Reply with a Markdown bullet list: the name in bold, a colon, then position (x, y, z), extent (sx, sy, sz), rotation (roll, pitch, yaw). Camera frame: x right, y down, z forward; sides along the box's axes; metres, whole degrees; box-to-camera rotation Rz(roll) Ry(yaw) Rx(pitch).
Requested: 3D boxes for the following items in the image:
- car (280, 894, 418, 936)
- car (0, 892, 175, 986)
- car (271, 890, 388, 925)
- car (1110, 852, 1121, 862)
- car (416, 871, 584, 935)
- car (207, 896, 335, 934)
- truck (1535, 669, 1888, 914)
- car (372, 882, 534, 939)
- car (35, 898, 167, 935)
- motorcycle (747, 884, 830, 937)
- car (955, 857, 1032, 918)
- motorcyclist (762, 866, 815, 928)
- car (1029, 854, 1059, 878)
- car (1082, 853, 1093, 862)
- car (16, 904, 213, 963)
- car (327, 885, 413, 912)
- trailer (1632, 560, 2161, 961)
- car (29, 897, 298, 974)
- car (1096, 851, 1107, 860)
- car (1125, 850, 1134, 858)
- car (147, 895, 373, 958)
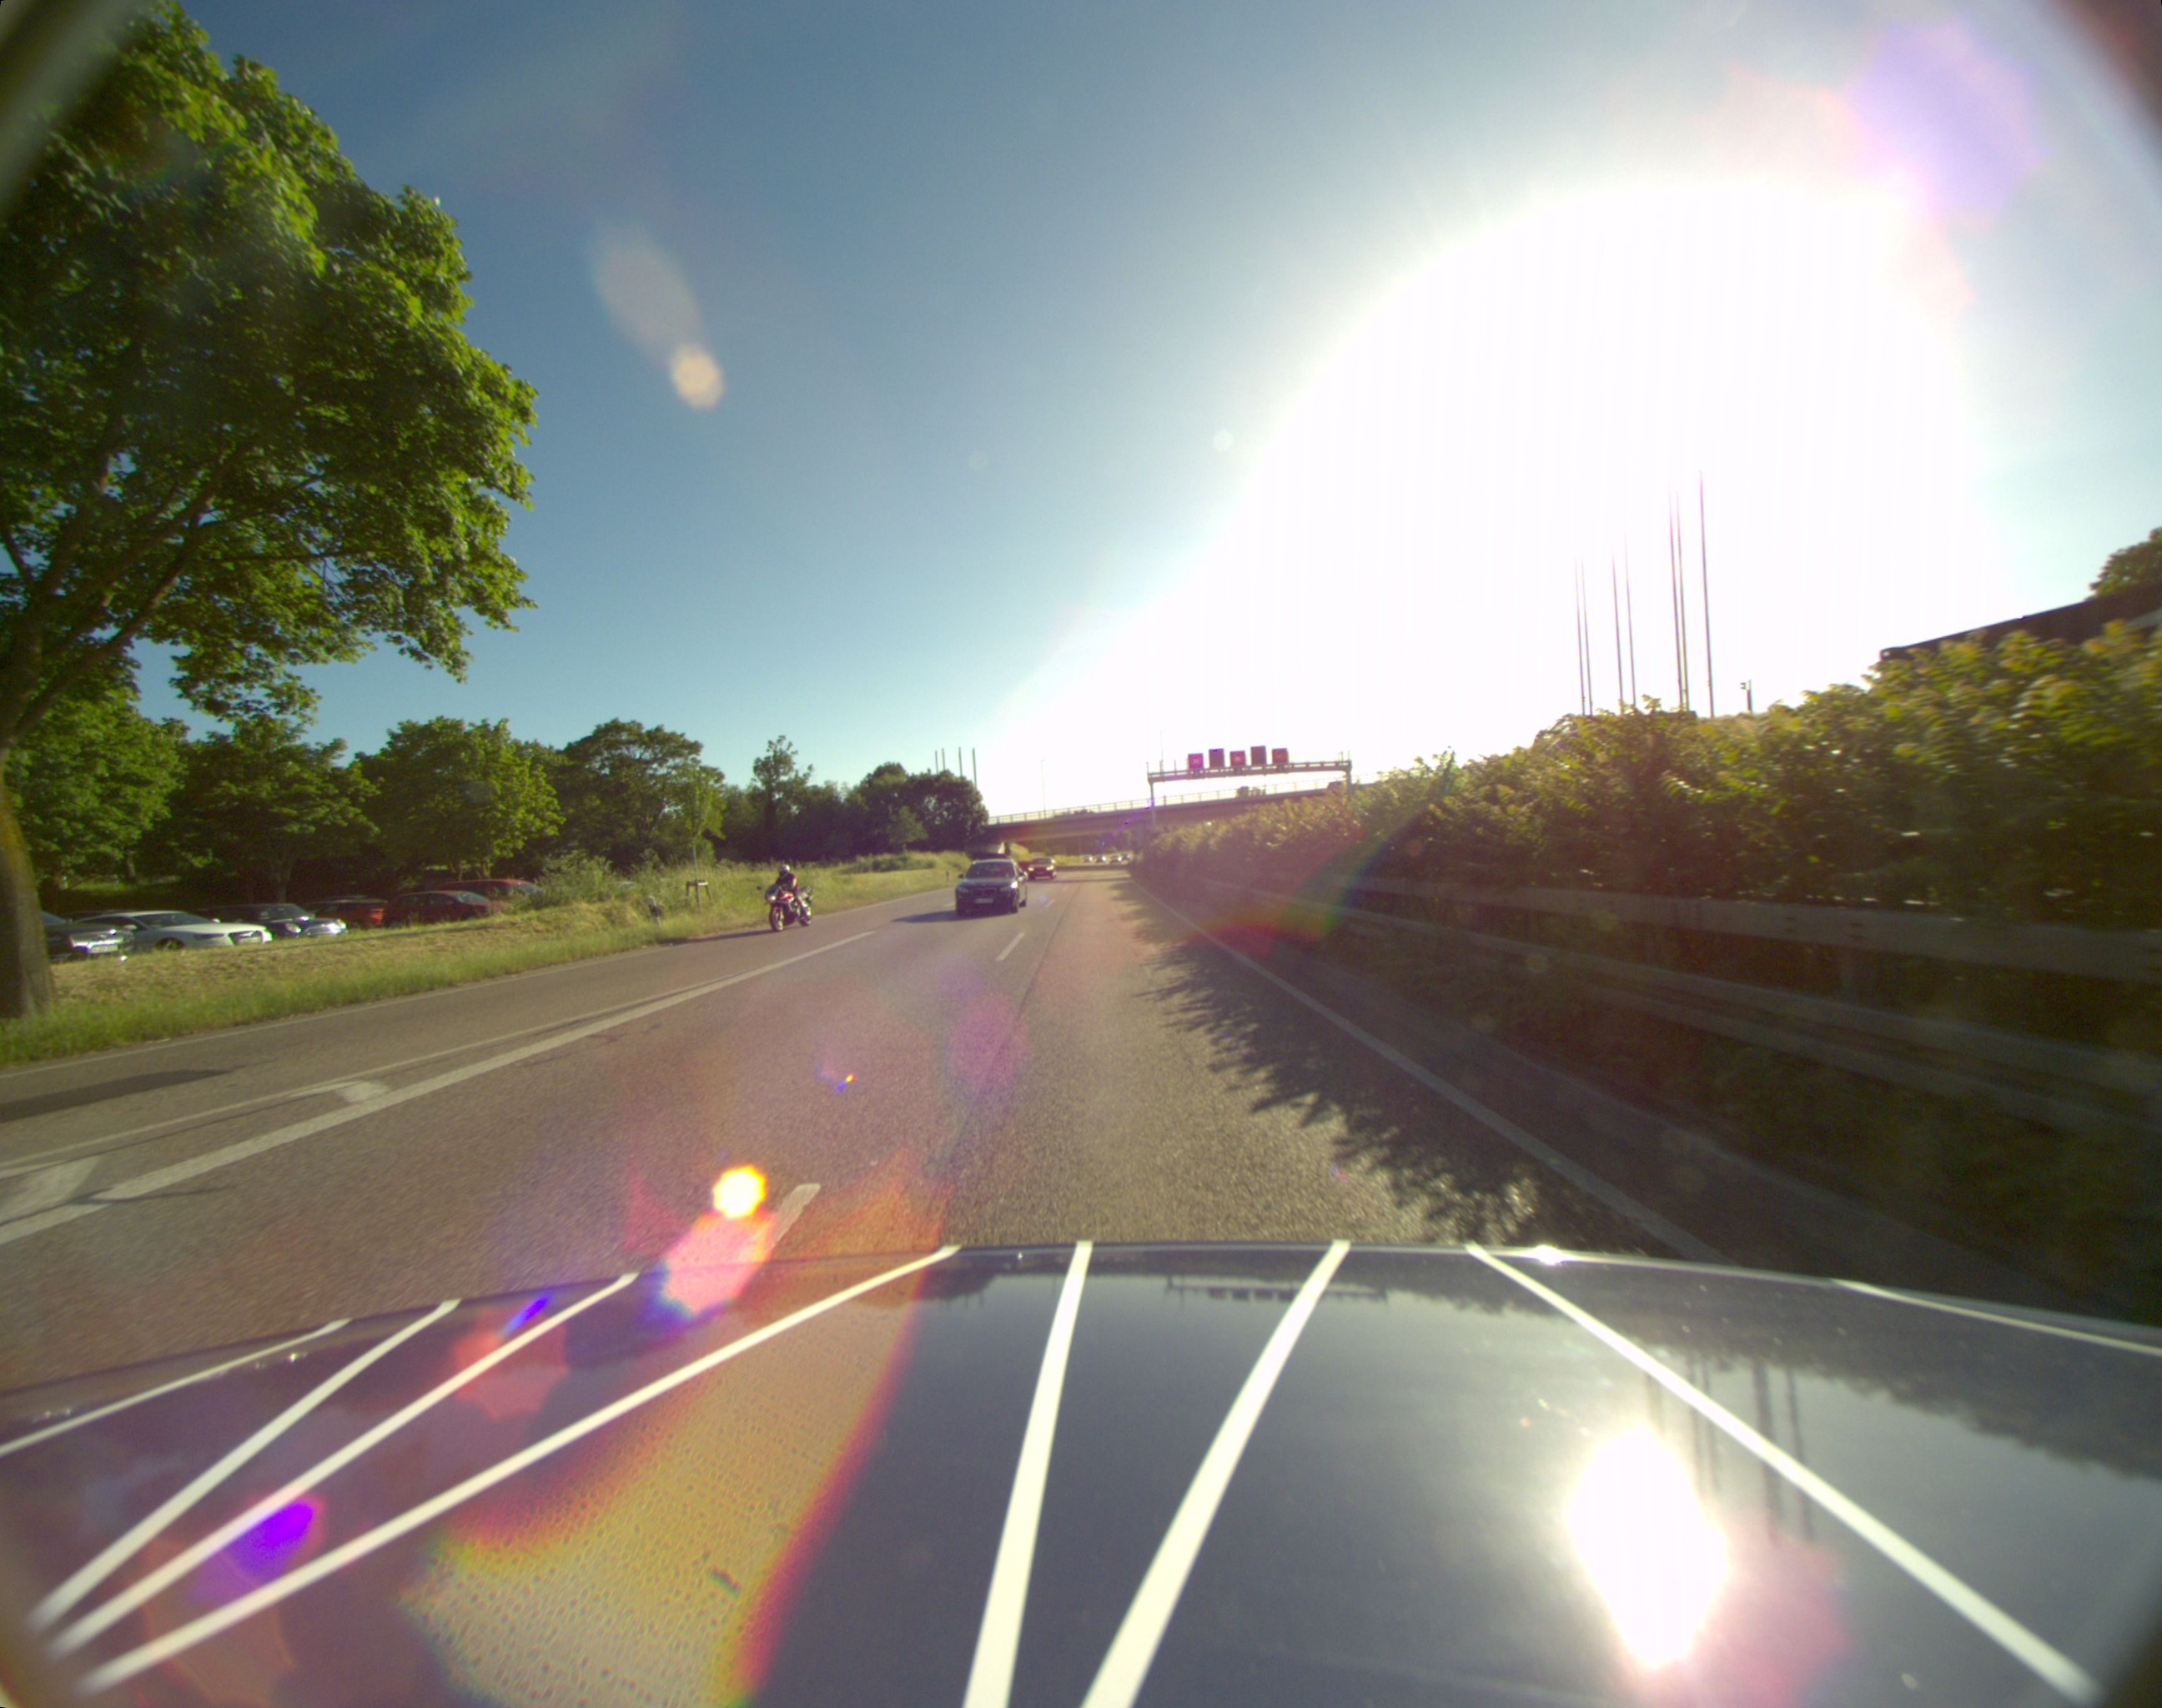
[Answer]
- **car**: position (-33.337, 2.764, 34.721), extent (4.121, 1.416, 2.022), rotation (-3, 3, -2)
- **car**: position (-23.197, 1.931, 16.128), extent (4.868, 1.669, 2.223), rotation (-5, 1, -4)
- **car**: position (-39.883, 2.828, 40.414), extent (4.121, 1.416, 1.865), rotation (-3, 3, -2)
- **car**: position (5.617, 0.482, 123.952), extent (1.725, 1.412, 3.670), rotation (-3, 0, 3)
- **car**: position (-22.706, 1.882, 29.873), extent (4.802, 2.012, 2.025), rotation (-3, 4, -2)
- **car**: position (-40.161, 2.988, 37.751), extent (4.121, 1.416, 1.865), rotation (-3, 3, -2)
- **truck**: position (12.518, -1.072, 15.861), extent (2.655, 4.099, 5.561), rotation (-3, 0, 1)
- **car**: position (-22.326, 1.994, 27.151), extent (4.017, 1.492, 1.960), rotation (-5, 1, 0)
- **car**: position (-50.607, 3.223, 39.293), extent (4.121, 1.416, 1.865), rotation (-3, 3, -2)
- **motorcycle**: position (-7.350, 1.389, 19.305), extent (0.818, 1.063, 2.836), rotation (-3, 1, 3)
- **car**: position (-2.538, 0.937, 23.103), extent (1.703, 1.498, 4.578), rotation (-2, 1, 1)
- **motorcyclist**: position (-7.374, 1.065, 19.194), extent (0.818, 1.439, 1.094), rotation (-3, 1, 3)
- **car**: position (-2.654, 0.835, 55.354), extent (1.759, 1.564, 4.520), rotation (-2, 1, 1)
- **car**: position (1.269, 0.709, 149.209), extent (1.867, 1.681, 4.001), rotation (-2, 0, 4)
- **car**: position (-33.918, 2.772, 26.750), extent (4.652, 1.464, 2.039), rotation (-5, 2, 7)
- **car**: position (-50.029, 3.108, 53.518), extent (4.121, 1.416, 1.865), rotation (-3, 3, -2)
- **trailer**: position (12.444, -1.005, 9.945), extent (2.655, 4.099, 10.699), rotation (-3, 0, 1)
- **car**: position (-22.788, 2.001, 19.015), extent (4.222, 1.303, 1.960), rotation (-5, 1, 0)
- **car**: position (3.766, 0.278, 138.093), extent (1.682, 1.412, 3.670), rotation (-3, 0, 4)
- **car**: position (9.841, -0.051, 154.839), extent (1.682, 1.412, 3.671), rotation (-3, 0, 6)
- **car**: position (-23.122, 2.015, 21.529), extent (4.222, 1.210, 1.961), rotation (-5, 1, 1)
